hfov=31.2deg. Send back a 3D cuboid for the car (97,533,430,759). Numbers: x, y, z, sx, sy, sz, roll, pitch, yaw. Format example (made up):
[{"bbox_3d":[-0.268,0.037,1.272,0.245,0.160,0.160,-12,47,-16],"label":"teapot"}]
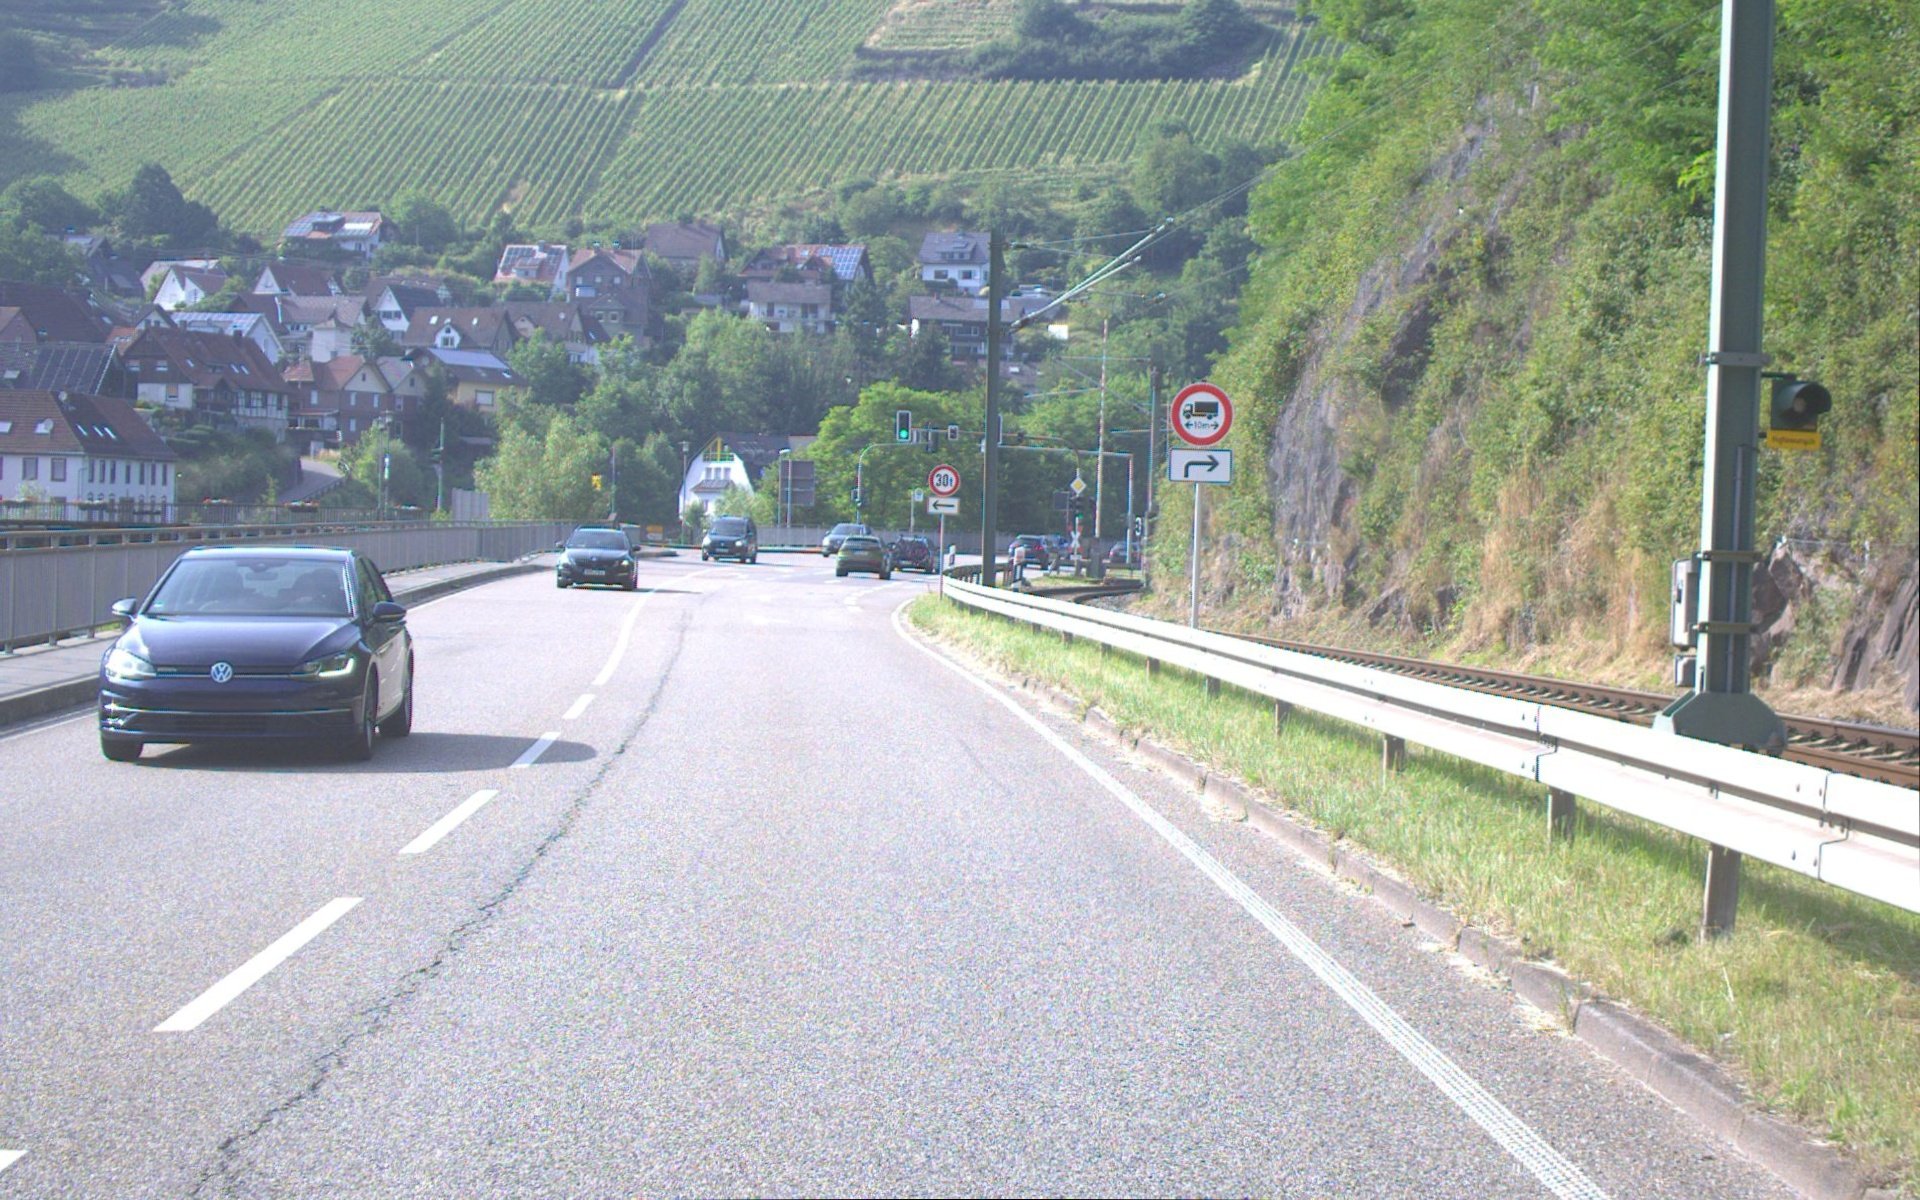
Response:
[{"bbox_3d":[-4.763,0.270,24.014,1.703,1.426,4.075,1,1,-3],"label":"car"}]

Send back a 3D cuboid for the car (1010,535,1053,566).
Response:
[{"bbox_3d":[3.529,-2.422,169.137,1.807,1.448,3.646,1,0,5],"label":"car"}]

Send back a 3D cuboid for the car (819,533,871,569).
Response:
[{"bbox_3d":[-5.452,-2.342,163.928,1.817,1.641,4.611,3,1,6],"label":"car"}]

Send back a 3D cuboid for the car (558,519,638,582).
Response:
[{"bbox_3d":[-8.588,-1.199,81.771,1.720,1.430,4.340,1,1,-4],"label":"car"}]

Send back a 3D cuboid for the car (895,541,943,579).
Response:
[{"bbox_3d":[-1.658,-1.617,140.199,1.840,1.454,3.713,1,0,0],"label":"car"}]

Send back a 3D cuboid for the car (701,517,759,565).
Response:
[{"bbox_3d":[-9.151,-2.340,137.054,1.791,1.821,4.828,2,1,1],"label":"car"}]

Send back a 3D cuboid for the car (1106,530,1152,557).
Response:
[{"bbox_3d":[9.406,-3.122,191.191,1.810,1.403,3.770,1,0,15],"label":"car"}]

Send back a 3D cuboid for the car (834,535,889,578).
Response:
[{"bbox_3d":[-3.440,-1.512,120.499,1.728,1.452,3.410,1,0,1],"label":"car"}]
